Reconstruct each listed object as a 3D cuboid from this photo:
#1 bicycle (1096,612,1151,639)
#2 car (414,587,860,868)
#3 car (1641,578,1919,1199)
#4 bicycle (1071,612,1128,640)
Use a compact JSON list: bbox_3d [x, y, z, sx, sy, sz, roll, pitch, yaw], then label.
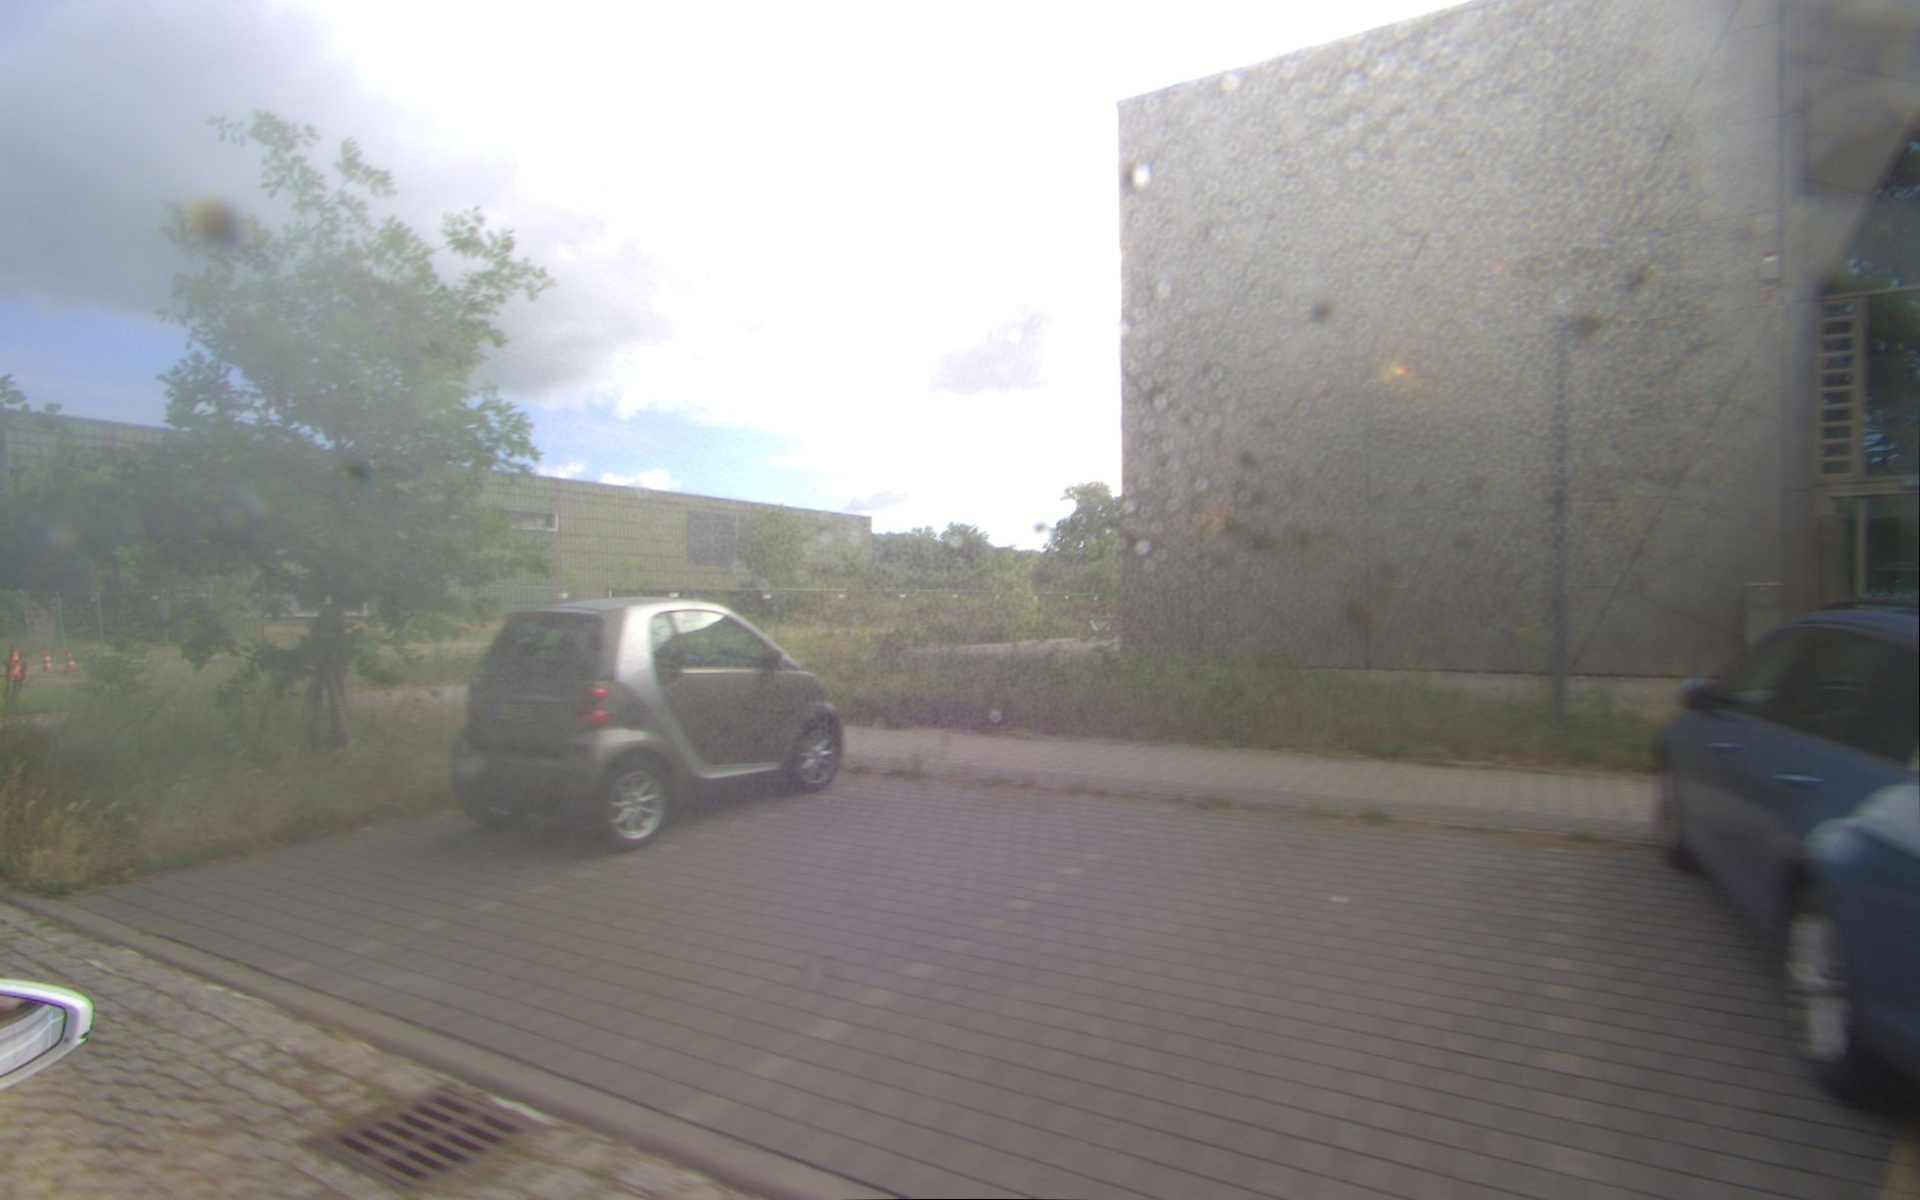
[{"bbox_3d":[6.473,1.012,39.697,1.961,1.038,0.832,-1,-1,33],"label":"bicycle"},{"bbox_3d":[-2.243,0.743,7.492,1.658,1.604,2.735,0,2,31],"label":"car"},{"bbox_3d":[3.992,0.692,3.766,1.902,1.470,4.518,0,2,29],"label":"car"},{"bbox_3d":[5.281,0.989,37.956,1.961,1.038,0.832,-1,-1,33],"label":"bicycle"}]
